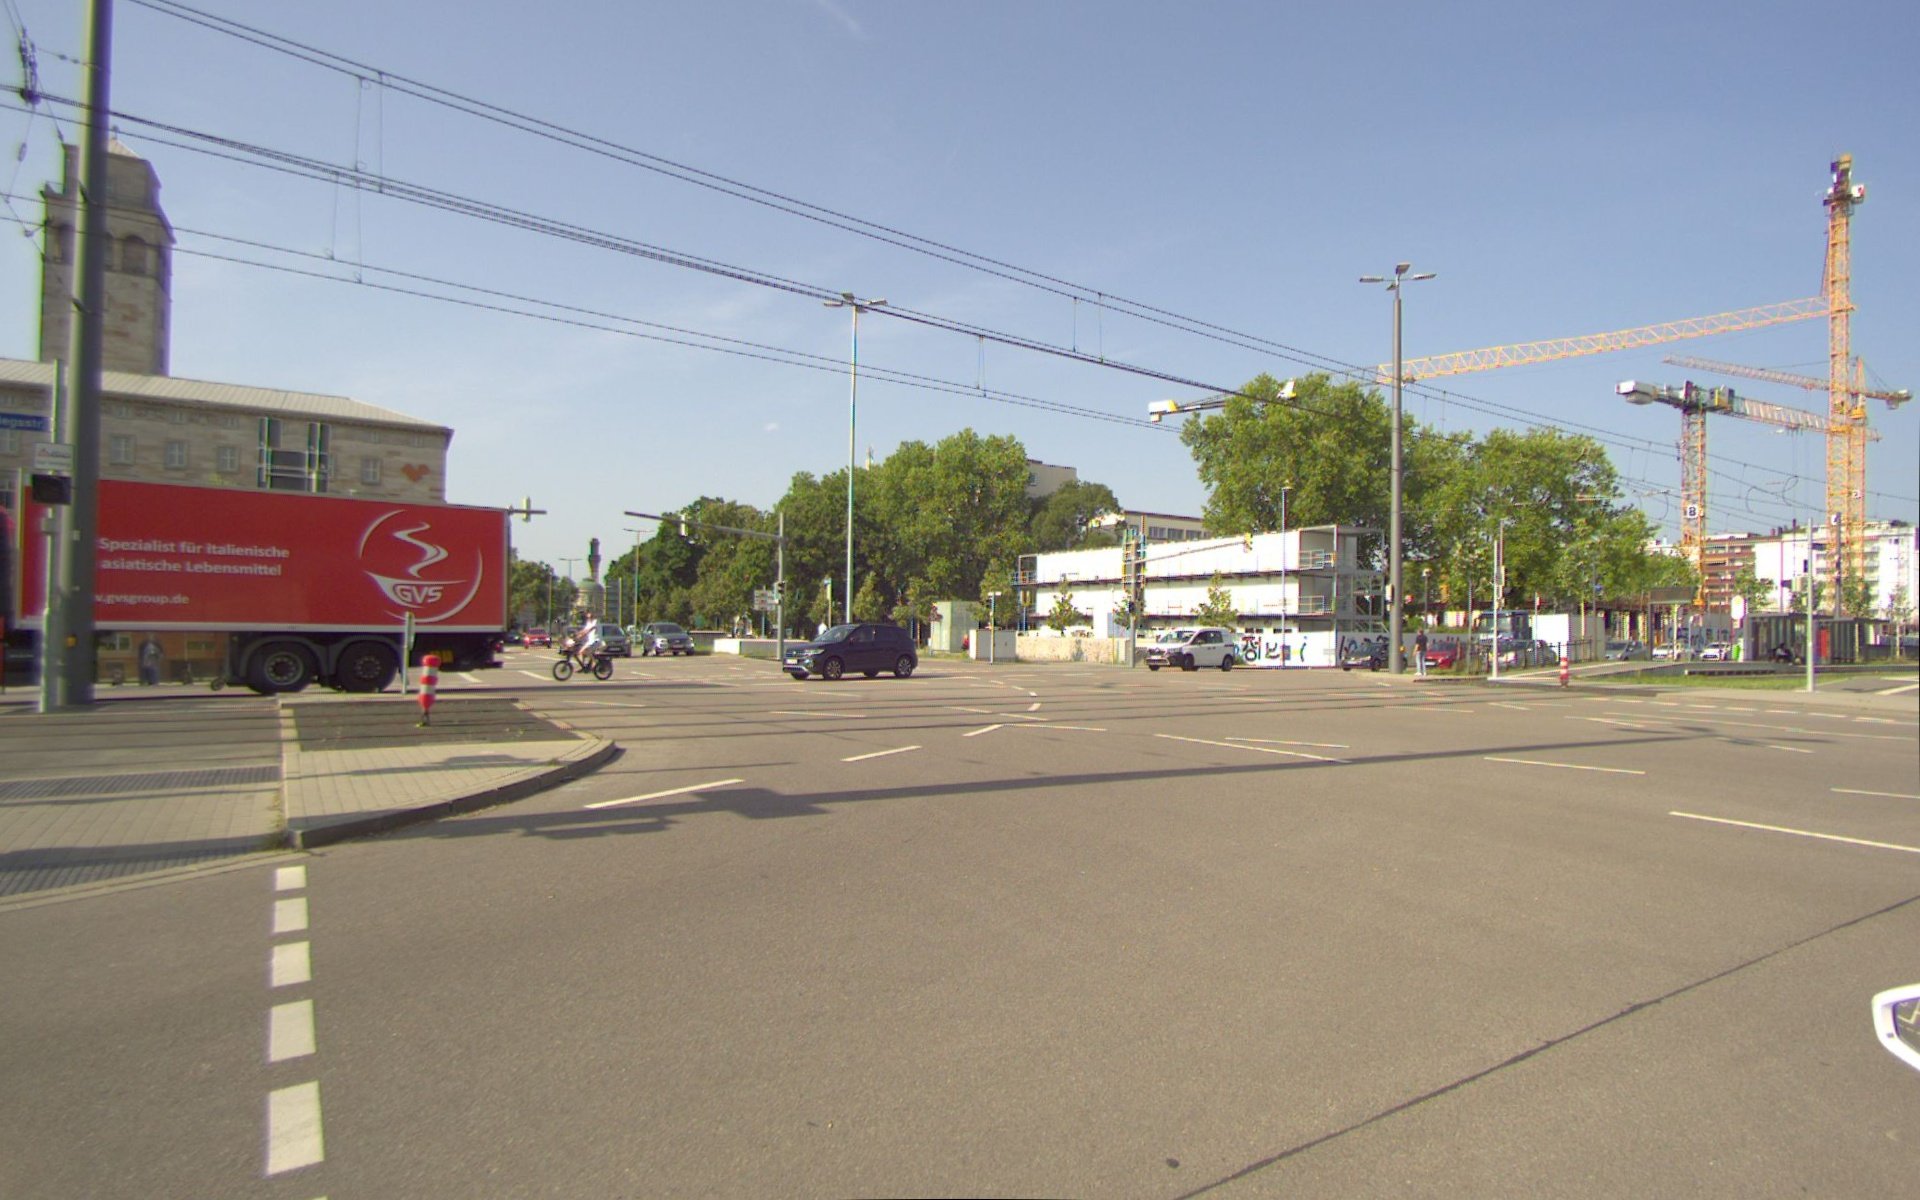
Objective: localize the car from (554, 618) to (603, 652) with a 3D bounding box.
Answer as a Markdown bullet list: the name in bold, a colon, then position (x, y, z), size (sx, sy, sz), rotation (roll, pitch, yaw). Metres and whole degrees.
- **car**: position (-21.334, 1.942, 56.072), size (1.976, 1.855, 3.969), rotation (2, -2, -30)

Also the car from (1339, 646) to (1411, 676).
- **car**: position (20.828, 3.016, 50.366), size (4.390, 1.365, 1.582), rotation (2, -2, -41)

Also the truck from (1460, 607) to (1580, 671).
- **truck**: position (34.002, 2.326, 60.831), size (8.804, 3.634, 3.001), rotation (2, -2, -36)

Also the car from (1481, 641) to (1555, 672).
- **car**: position (28.363, 2.823, 51.027), size (4.361, 1.489, 1.632), rotation (2, -2, -36)

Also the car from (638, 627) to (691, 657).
- **car**: position (-14.596, 2.053, 49.542), size (1.554, 1.439, 3.310), rotation (2, -2, -35)

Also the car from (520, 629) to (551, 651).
- **car**: position (-31.196, 2.934, 73.775), size (1.810, 1.526, 3.990), rotation (2, -2, -27)

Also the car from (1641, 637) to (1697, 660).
- **car**: position (51.644, 3.543, 73.136), size (4.565, 1.602, 1.782), rotation (2, -2, -32)

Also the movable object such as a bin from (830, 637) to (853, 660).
- **movable object such as a bin**: position (-5.376, 2.204, 45.483), size (0.897, 1.027, 0.561), rotation (2, -2, -31)

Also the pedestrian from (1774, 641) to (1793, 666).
- **pedestrian**: position (44.538, 2.894, 54.336), size (0.587, 1.317, 0.675), rotation (1, -2, -38)

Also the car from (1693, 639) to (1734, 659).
- **car**: position (59.007, 3.856, 78.618), size (3.399, 1.483, 1.586), rotation (2, -2, -34)

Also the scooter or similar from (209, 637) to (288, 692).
- **scooter or similar**: position (-15.671, 1.411, 22.135), size (1.372, 1.162, 0.534), rotation (2, -2, -40)

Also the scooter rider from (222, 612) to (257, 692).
- **scooter rider**: position (-15.796, 1.135, 22.023), size (0.545, 1.720, 0.533), rotation (2, -1, -39)

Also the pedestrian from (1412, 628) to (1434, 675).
- **pedestrian**: position (16.865, 1.874, 36.575), size (0.630, 1.698, 0.370), rotation (1, -1, -18)

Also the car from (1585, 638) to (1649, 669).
- **car**: position (38.241, 3.117, 58.461), size (4.108, 1.684, 1.710), rotation (2, -1, -34)

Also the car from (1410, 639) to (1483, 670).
- **car**: position (23.056, 2.567, 47.520), size (3.666, 1.379, 1.707), rotation (2, -2, -39)

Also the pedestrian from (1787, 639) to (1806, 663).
- **pedestrian**: position (46.747, 2.854, 56.124), size (0.587, 1.317, 0.675), rotation (1, -2, -38)

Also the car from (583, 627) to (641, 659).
- **car**: position (-16.664, 2.031, 47.971), size (1.693, 1.398, 3.618), rotation (2, -2, -35)

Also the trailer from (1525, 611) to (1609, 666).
- **trailer**: position (33.020, 2.098, 54.590), size (4.972, 2.818, 2.031), rotation (2, 0, -35)

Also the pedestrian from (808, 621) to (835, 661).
- **pedestrian**: position (-6.206, 1.850, 45.002), size (0.994, 1.756, 0.557), rotation (2, -1, -31)

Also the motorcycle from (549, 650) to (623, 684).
- **motorcycle**: position (-10.011, 1.779, 26.939), size (1.809, 0.844, 0.514), rotation (2, -2, -42)

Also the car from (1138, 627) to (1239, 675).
- **car**: position (9.214, 2.027, 40.280), size (4.482, 1.812, 1.602), rotation (2, -2, -40)

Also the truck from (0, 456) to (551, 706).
- **truck**: position (-13.390, -0.193, 18.619), size (10.335, 3.859, 2.948), rotation (2, -2, -39)

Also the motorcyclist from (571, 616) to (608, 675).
- **motorcyclist**: position (-9.947, 1.222, 26.971), size (0.855, 1.548, 0.387), rotation (2, -2, -42)

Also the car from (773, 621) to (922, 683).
- **car**: position (-3.121, 1.439, 28.361), size (3.970, 1.622, 1.625), rotation (2, -2, -42)
